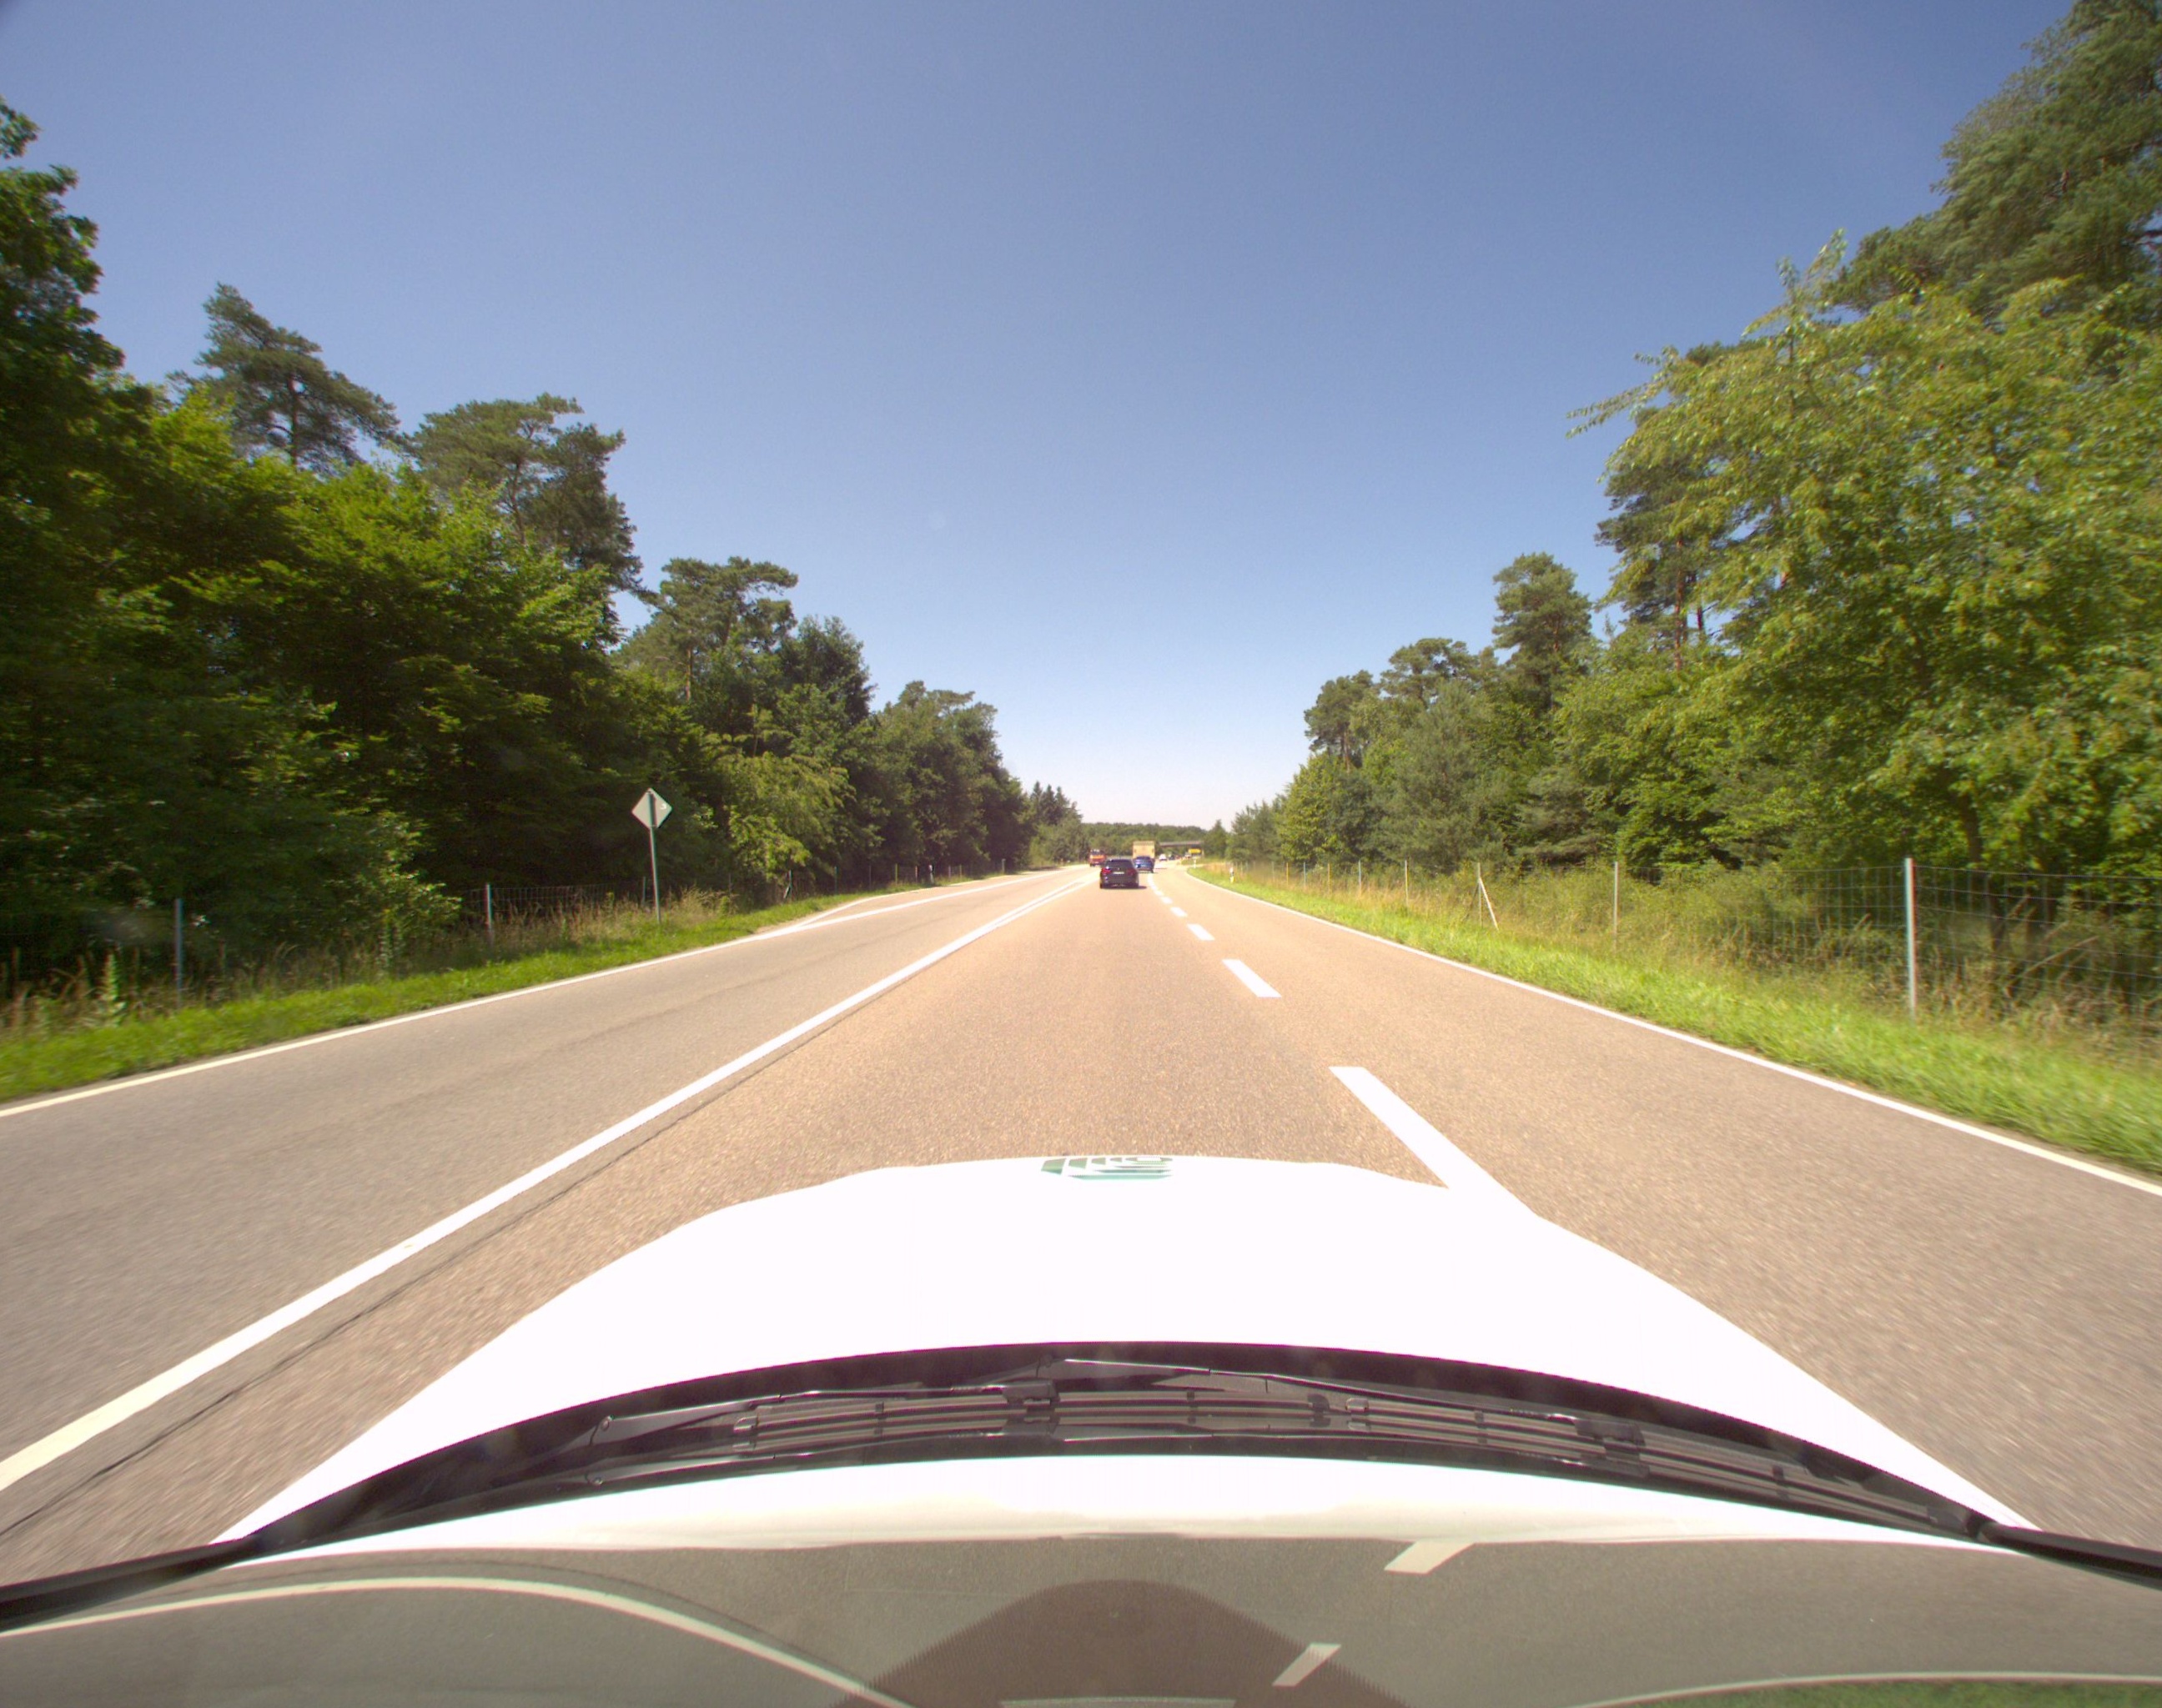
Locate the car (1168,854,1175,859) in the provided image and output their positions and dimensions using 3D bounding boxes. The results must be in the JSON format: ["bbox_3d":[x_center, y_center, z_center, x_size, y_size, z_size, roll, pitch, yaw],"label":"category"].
[{"bbox_3d":[26.027,0.773,234.544,1.983,1.420,4.008,0,0,7],"label":"car"}]

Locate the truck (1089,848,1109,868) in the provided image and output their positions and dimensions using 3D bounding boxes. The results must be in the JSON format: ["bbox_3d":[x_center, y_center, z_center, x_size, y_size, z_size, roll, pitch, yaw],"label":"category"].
[{"bbox_3d":[2.594,0.597,117.307,2.386,2.722,6.562,0,0,6],"label":"truck"}]

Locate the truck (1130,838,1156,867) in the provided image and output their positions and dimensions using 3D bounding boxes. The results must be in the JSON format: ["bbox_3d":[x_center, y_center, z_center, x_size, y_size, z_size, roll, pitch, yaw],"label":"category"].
[{"bbox_3d":[7.491,-0.212,98.842,2.953,3.387,6.444,-1,0,4],"label":"truck"}]

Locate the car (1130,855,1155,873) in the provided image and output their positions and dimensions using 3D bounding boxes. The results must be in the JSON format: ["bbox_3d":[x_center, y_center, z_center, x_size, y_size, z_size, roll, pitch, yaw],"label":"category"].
[{"bbox_3d":[5.602,0.862,74.750,1.941,1.542,3.999,-2,0,0],"label":"car"}]

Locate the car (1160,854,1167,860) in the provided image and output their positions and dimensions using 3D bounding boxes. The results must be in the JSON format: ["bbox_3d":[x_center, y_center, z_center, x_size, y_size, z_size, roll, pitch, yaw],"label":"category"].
[{"bbox_3d":[20.667,0.805,204.003,1.854,1.605,4.005,0,0,4],"label":"car"}]

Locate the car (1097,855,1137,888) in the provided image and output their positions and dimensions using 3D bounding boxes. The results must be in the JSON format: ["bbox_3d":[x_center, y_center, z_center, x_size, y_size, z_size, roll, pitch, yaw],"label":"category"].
[{"bbox_3d":[1.772,0.828,39.779,1.813,1.470,4.003,-1,0,3],"label":"car"}]
